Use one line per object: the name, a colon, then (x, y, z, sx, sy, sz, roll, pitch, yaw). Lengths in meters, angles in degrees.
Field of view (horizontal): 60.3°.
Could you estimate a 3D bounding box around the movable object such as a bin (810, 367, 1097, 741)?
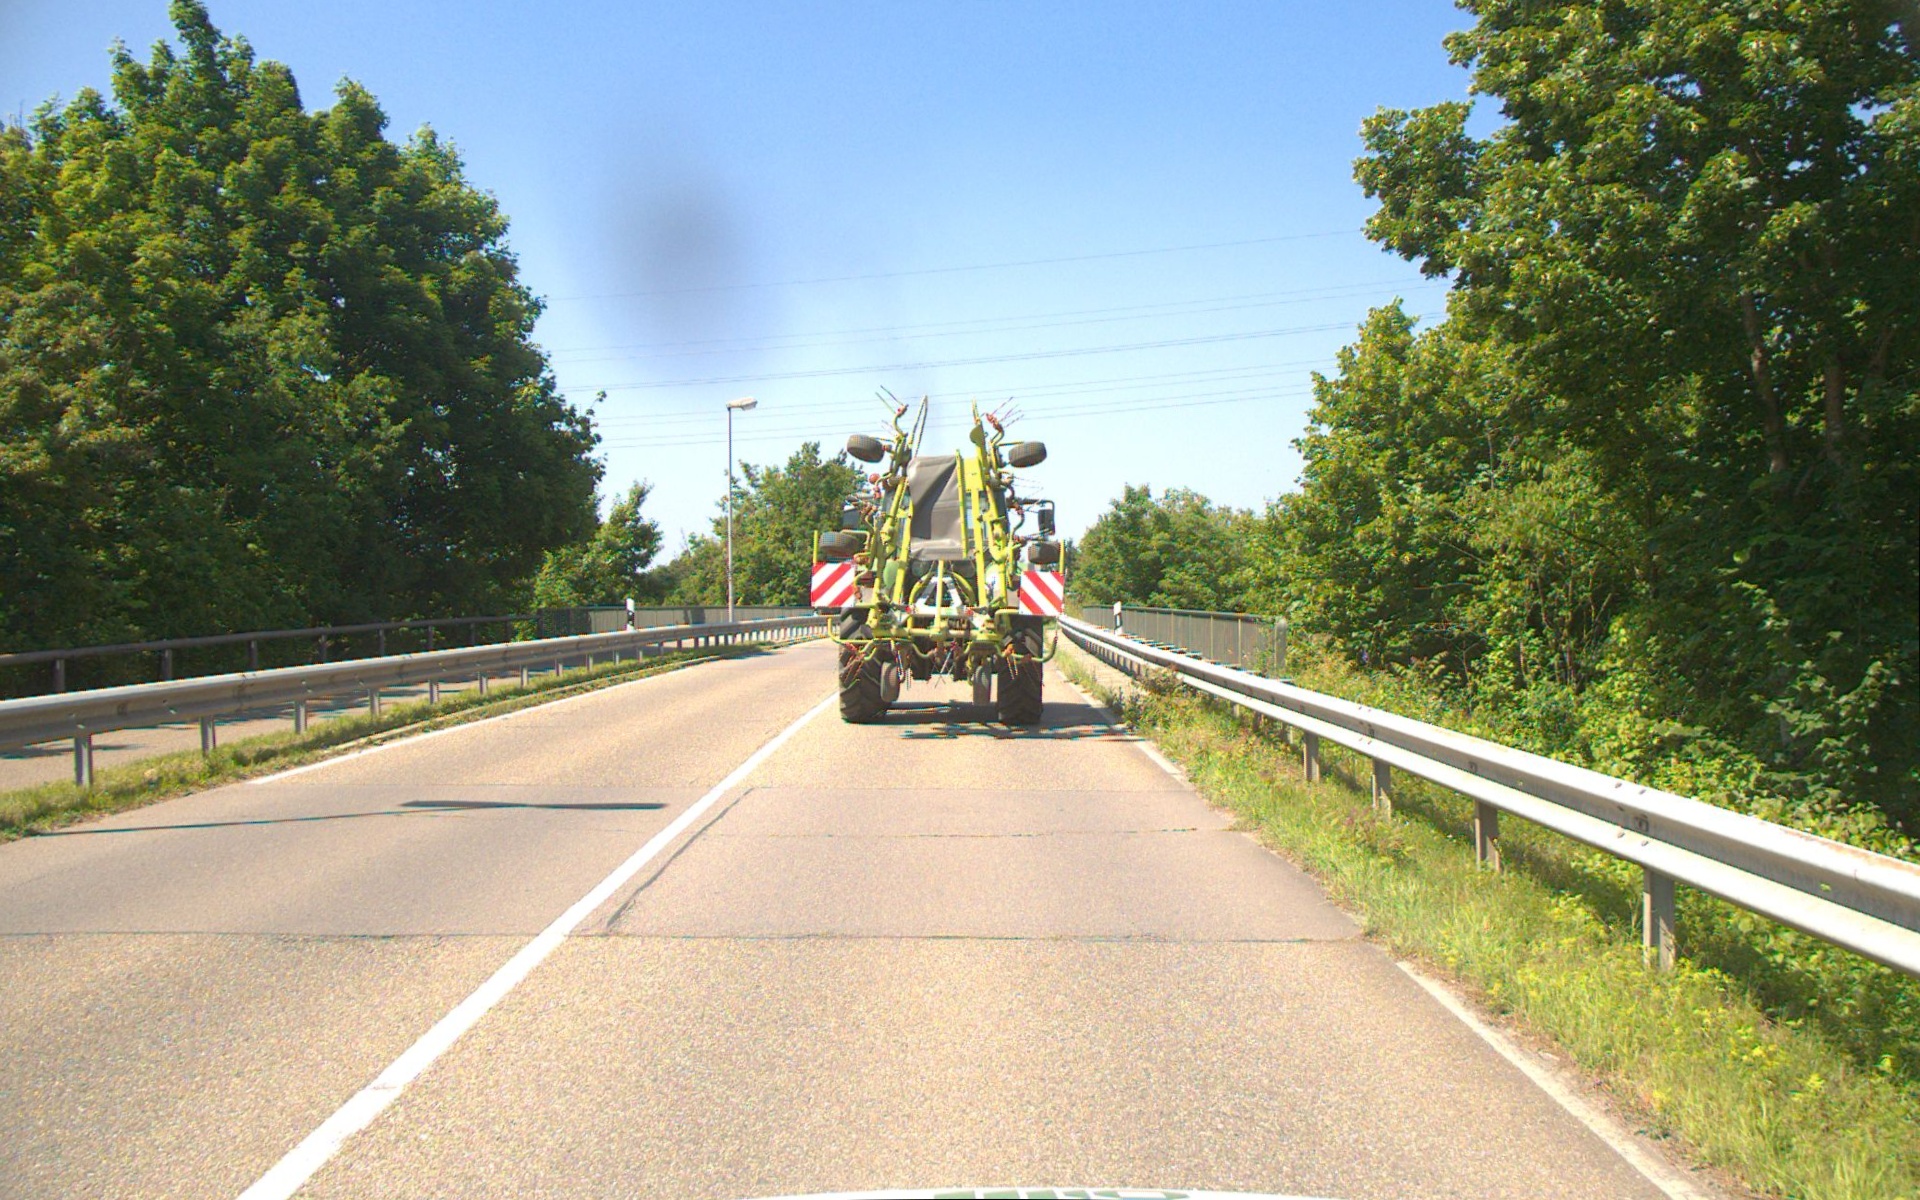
movable object such as a bin: (-0.143, -0.449, 18.386, 2.699, 3.504, 5.668, 0, 0, -2)
